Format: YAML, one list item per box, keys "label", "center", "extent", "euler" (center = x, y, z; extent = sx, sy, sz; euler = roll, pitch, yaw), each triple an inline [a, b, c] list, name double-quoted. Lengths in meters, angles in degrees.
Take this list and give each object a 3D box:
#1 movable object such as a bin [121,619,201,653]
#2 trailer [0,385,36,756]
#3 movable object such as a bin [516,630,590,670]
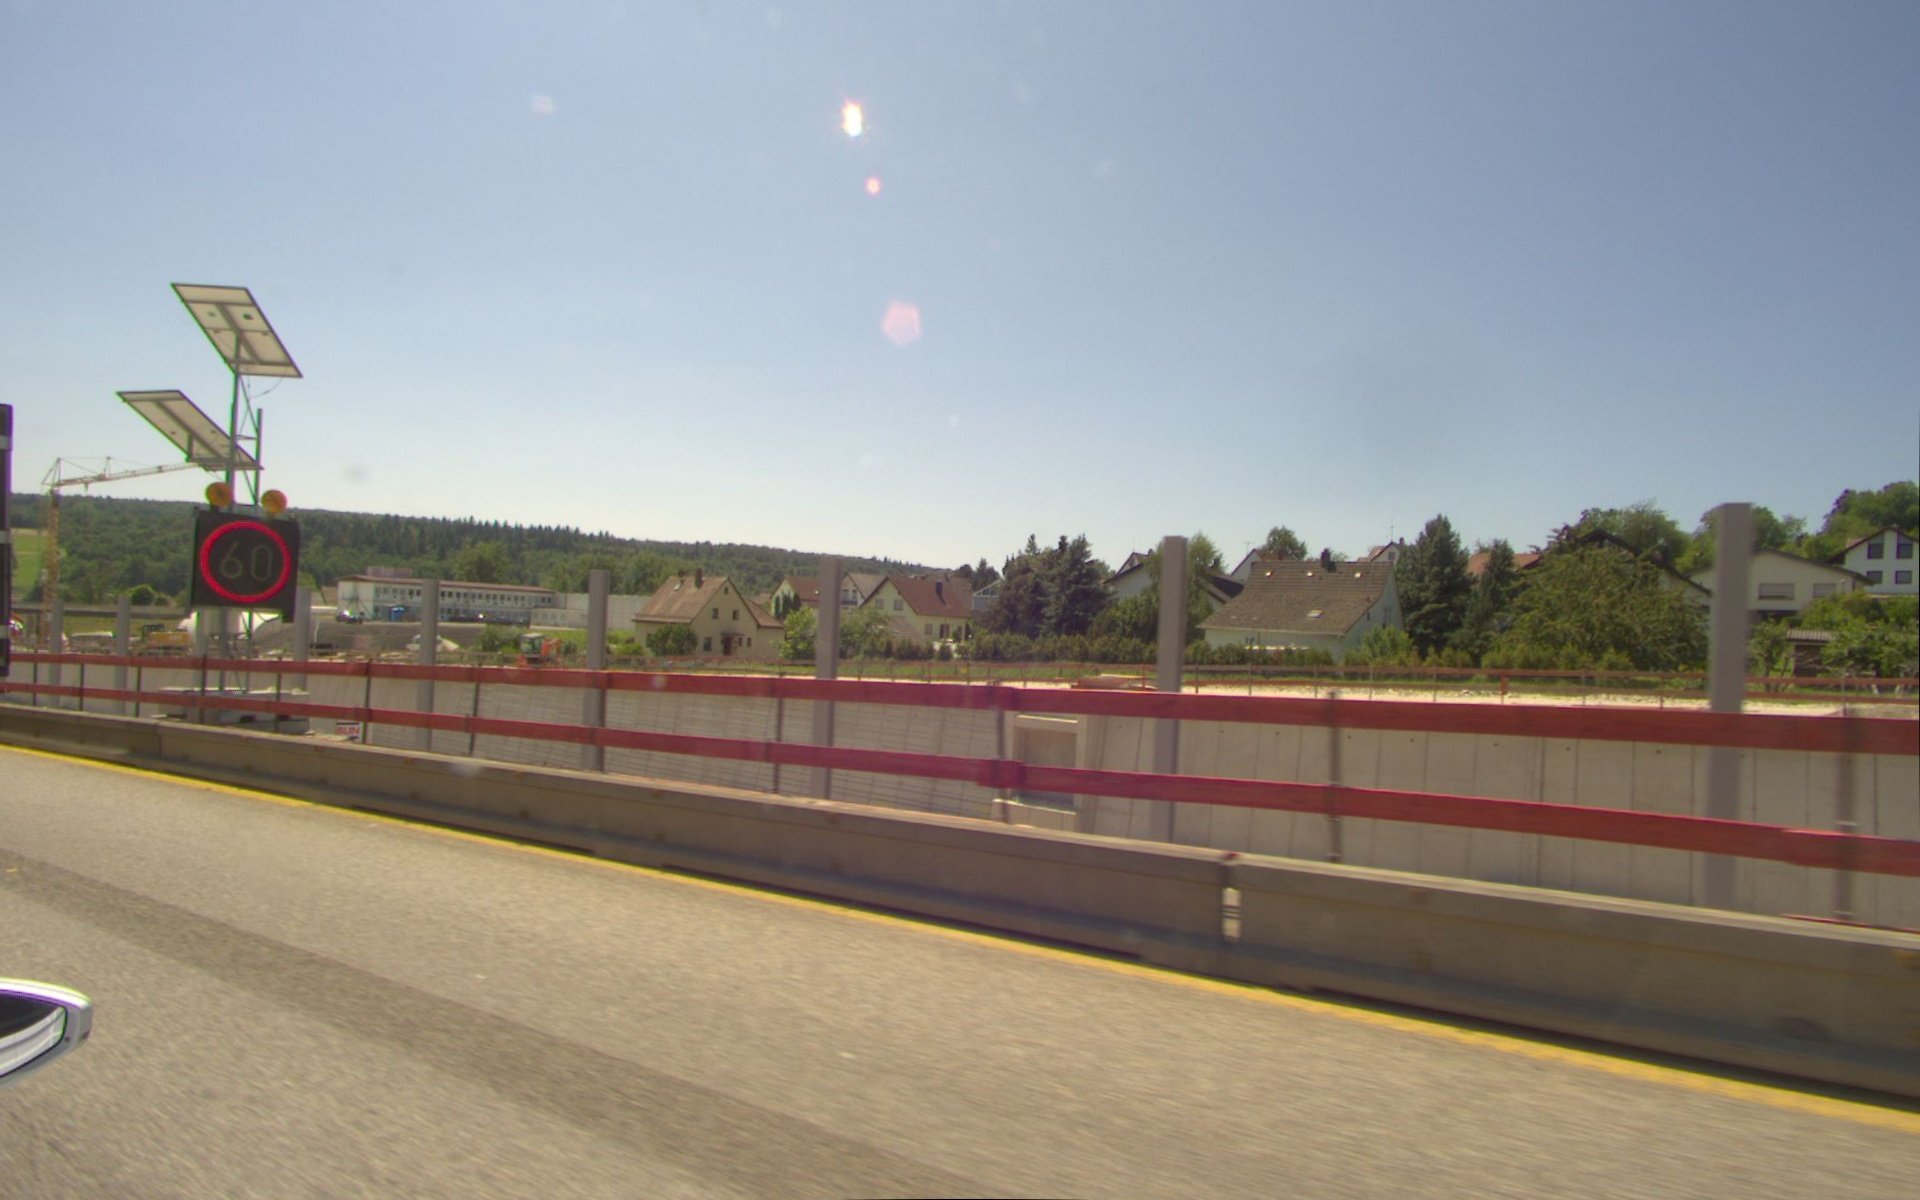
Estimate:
- label: "movable object such as a bin"
  center: [-72.267, 3.253, 90.462]
  extent: [9.346, 2.946, 2.882]
  euler: [-1, -2, 33]
- label: "trailer"
  center: [-17.079, -0.230, 13.871]
  extent: [13.915, 4.110, 2.797]
  euler: [-1, -1, 32]
- label: "movable object such as a bin"
  center: [-23.765, 2.897, 58.430]
  extent: [4.093, 2.267, 1.990]
  euler: [-1, -2, 33]
